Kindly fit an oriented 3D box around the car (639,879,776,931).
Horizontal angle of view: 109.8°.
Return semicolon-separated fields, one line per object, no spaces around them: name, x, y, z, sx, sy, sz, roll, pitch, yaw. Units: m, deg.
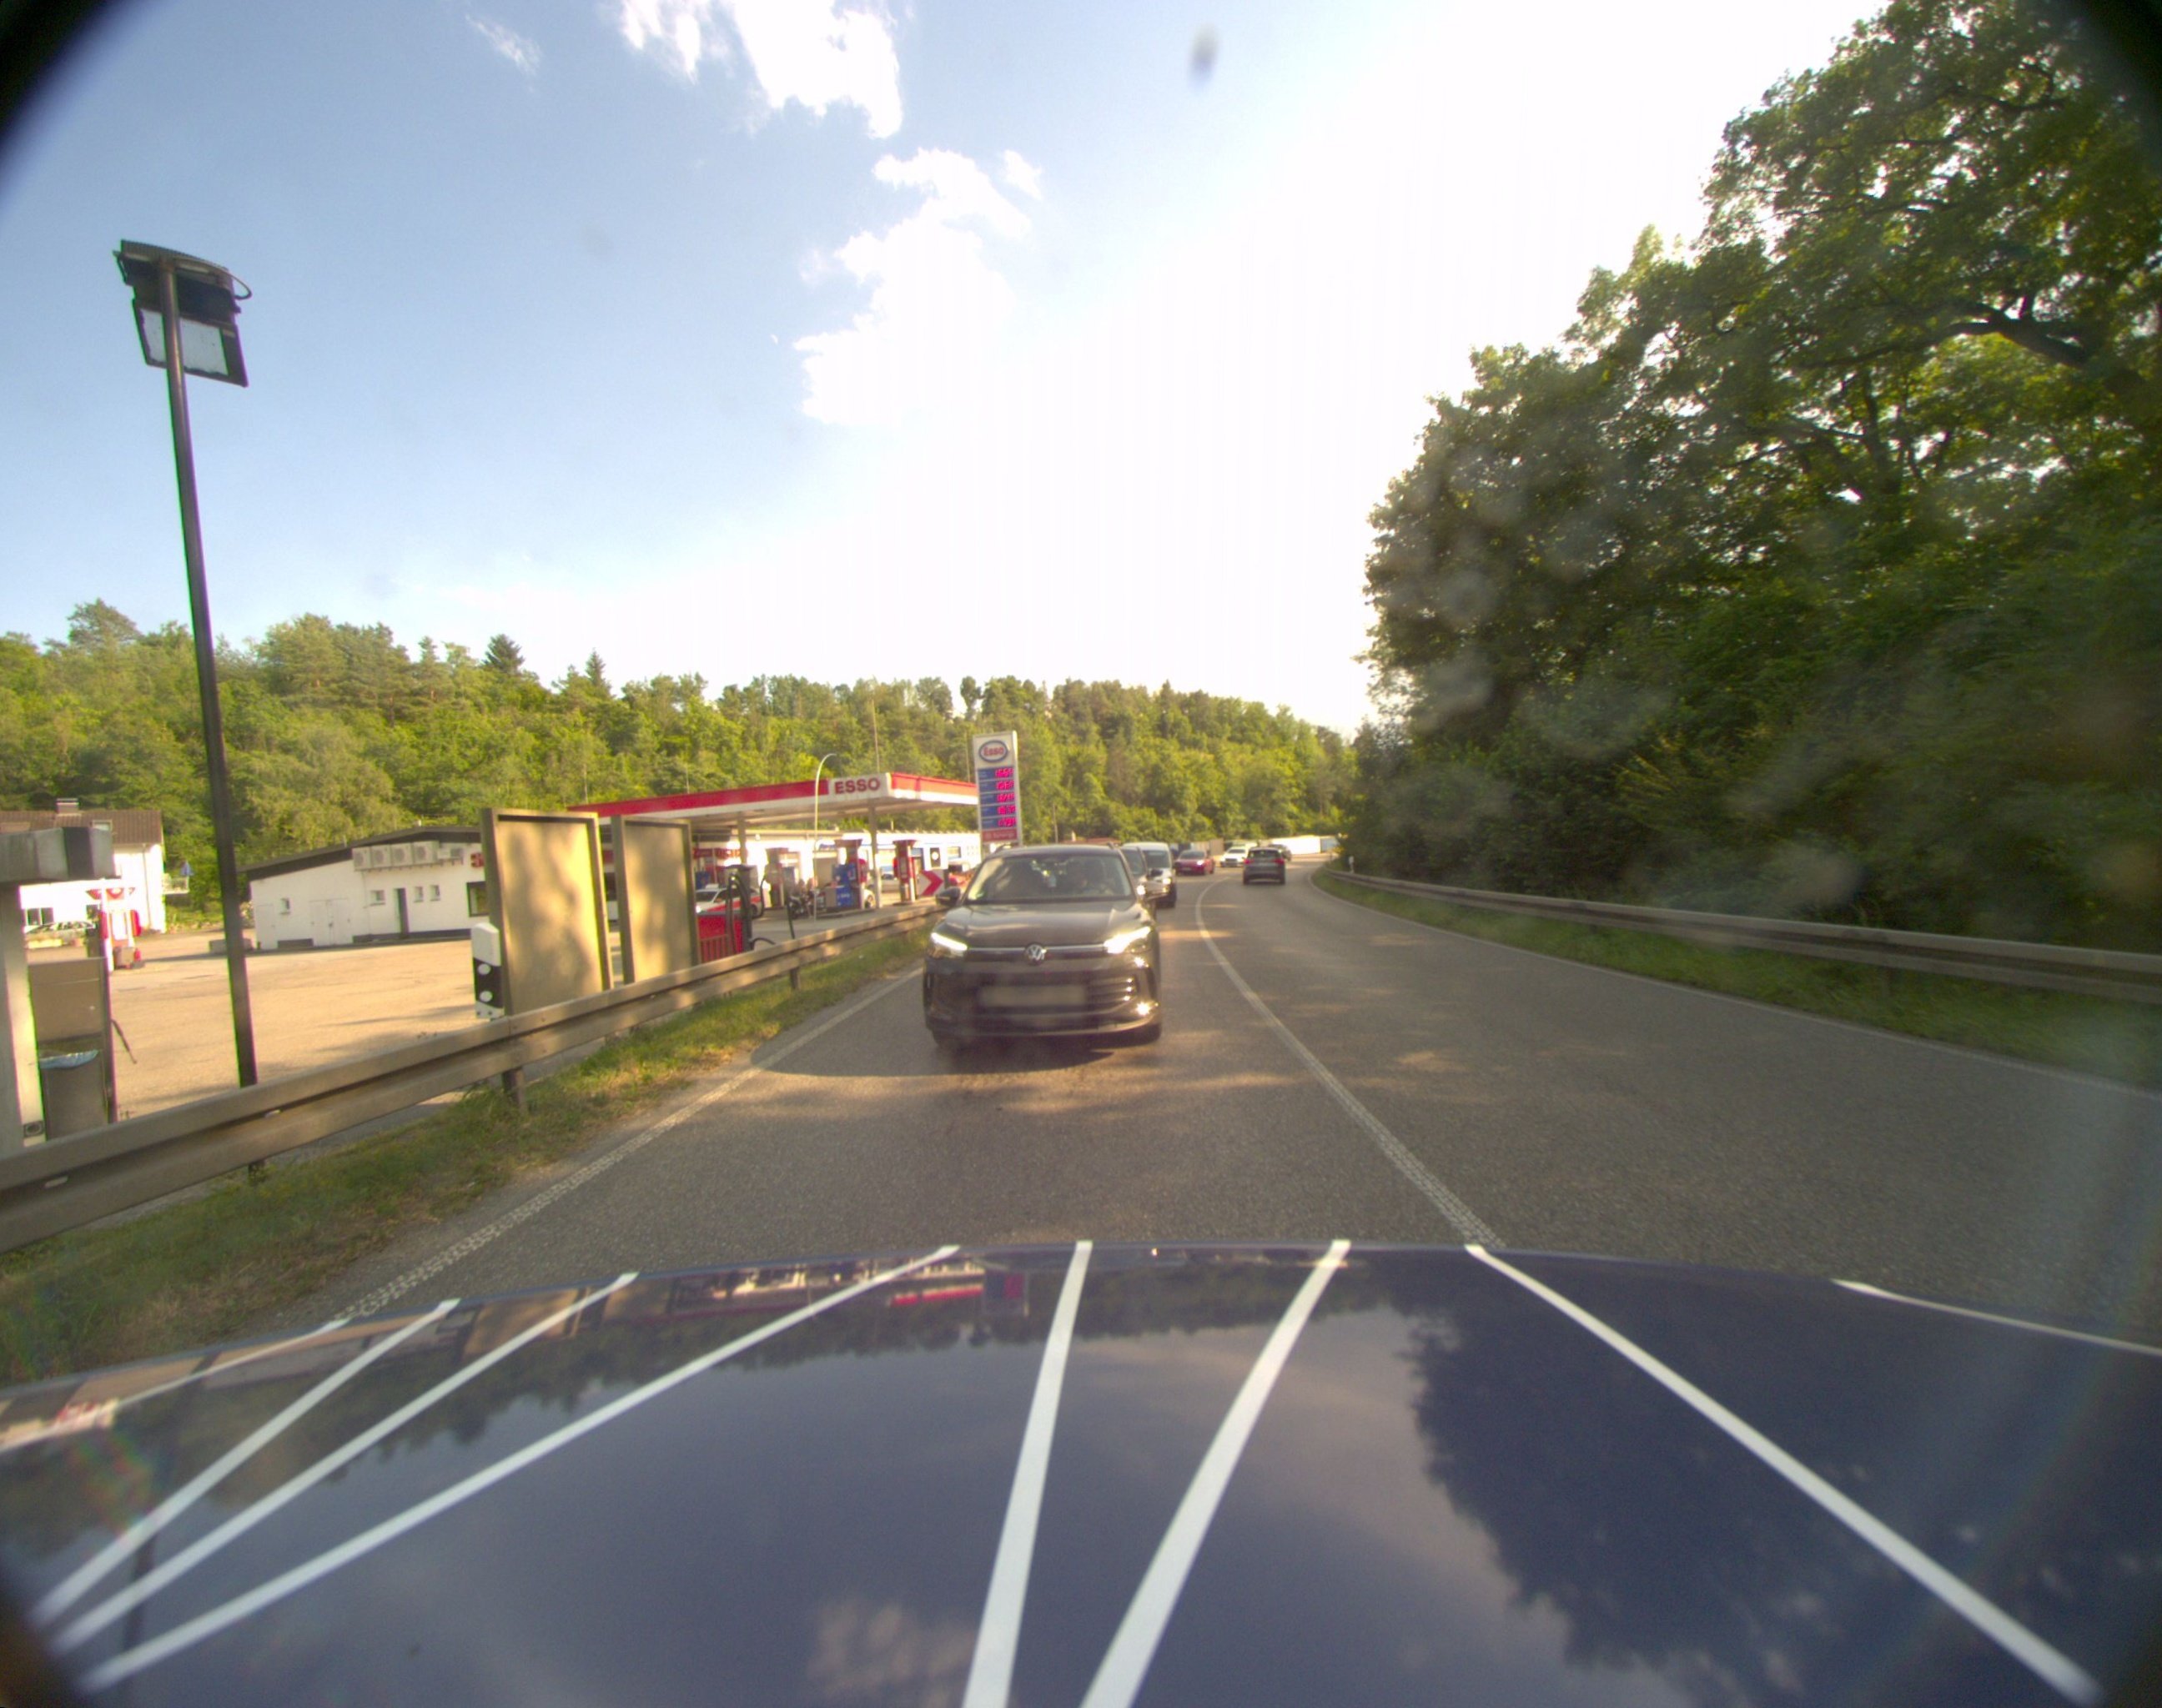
car;-15.074;2.014;31.090;2.095;1.618;5.185;-3;0;14

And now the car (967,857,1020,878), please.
car;-7.757;1.188;67.780;4.254;1.719;1.893;-1;1;12

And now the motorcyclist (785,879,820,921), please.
motorcyclist;-11.345;1.858;30.964;0.859;1.595;0.928;-3;1;14

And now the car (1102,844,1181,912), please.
car;1.855;0.615;21.811;1.866;1.710;4.766;-1;0;9

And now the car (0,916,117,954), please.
car;-65.098;5.083;47.858;2.694;1.826;5.175;-4;0;41

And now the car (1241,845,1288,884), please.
car;8.062;0.455;33.493;1.870;1.555;4.004;-2;-1;13

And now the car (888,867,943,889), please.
car;-12.265;1.803;56.335;3.555;1.398;1.692;-3;1;15

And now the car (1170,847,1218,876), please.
car;6.586;0.409;43.843;1.857;1.412;4.424;-4;0;19

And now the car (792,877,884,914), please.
car;-10.983;1.867;34.740;1.845;1.311;4.394;-3;0;15

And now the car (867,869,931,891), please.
car;-12.902;1.853;53.846;3.963;1.347;1.778;-2;1;11

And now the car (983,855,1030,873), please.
car;-7.512;1.007;76.471;4.246;1.601;1.896;-2;1;15

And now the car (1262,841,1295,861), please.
car;17.845;-0.283;68.603;1.856;1.587;4.544;-4;0;26

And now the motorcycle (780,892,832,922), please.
motorcycle;-11.260;2.157;31.200;0.763;1.006;2.343;-3;1;14

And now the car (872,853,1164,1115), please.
car;-0.251;0.864;7.187;1.859;1.630;4.442;-2;0;4

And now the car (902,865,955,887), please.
car;-11.709;1.677;58.492;3.549;1.437;1.735;-3;1;15

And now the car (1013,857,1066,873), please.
car;-3.975;1.089;73.521;4.727;1.426;1.959;-1;1;13

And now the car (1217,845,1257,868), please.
car;11.527;0.151;56.015;1.912;1.457;4.543;-4;0;23

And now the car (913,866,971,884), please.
car;-11.048;1.676;60.522;4.072;1.340;1.896;-1;1;15

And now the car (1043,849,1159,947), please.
car;0.549;0.739;14.923;1.847;1.561;4.259;-2;1;7

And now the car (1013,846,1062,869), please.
car;-4.831;0.405;84.635;4.915;2.435;2.209;-1;1;13

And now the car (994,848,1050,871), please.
car;-6.298;0.577;81.076;5.481;2.261;2.297;-1;1;15
